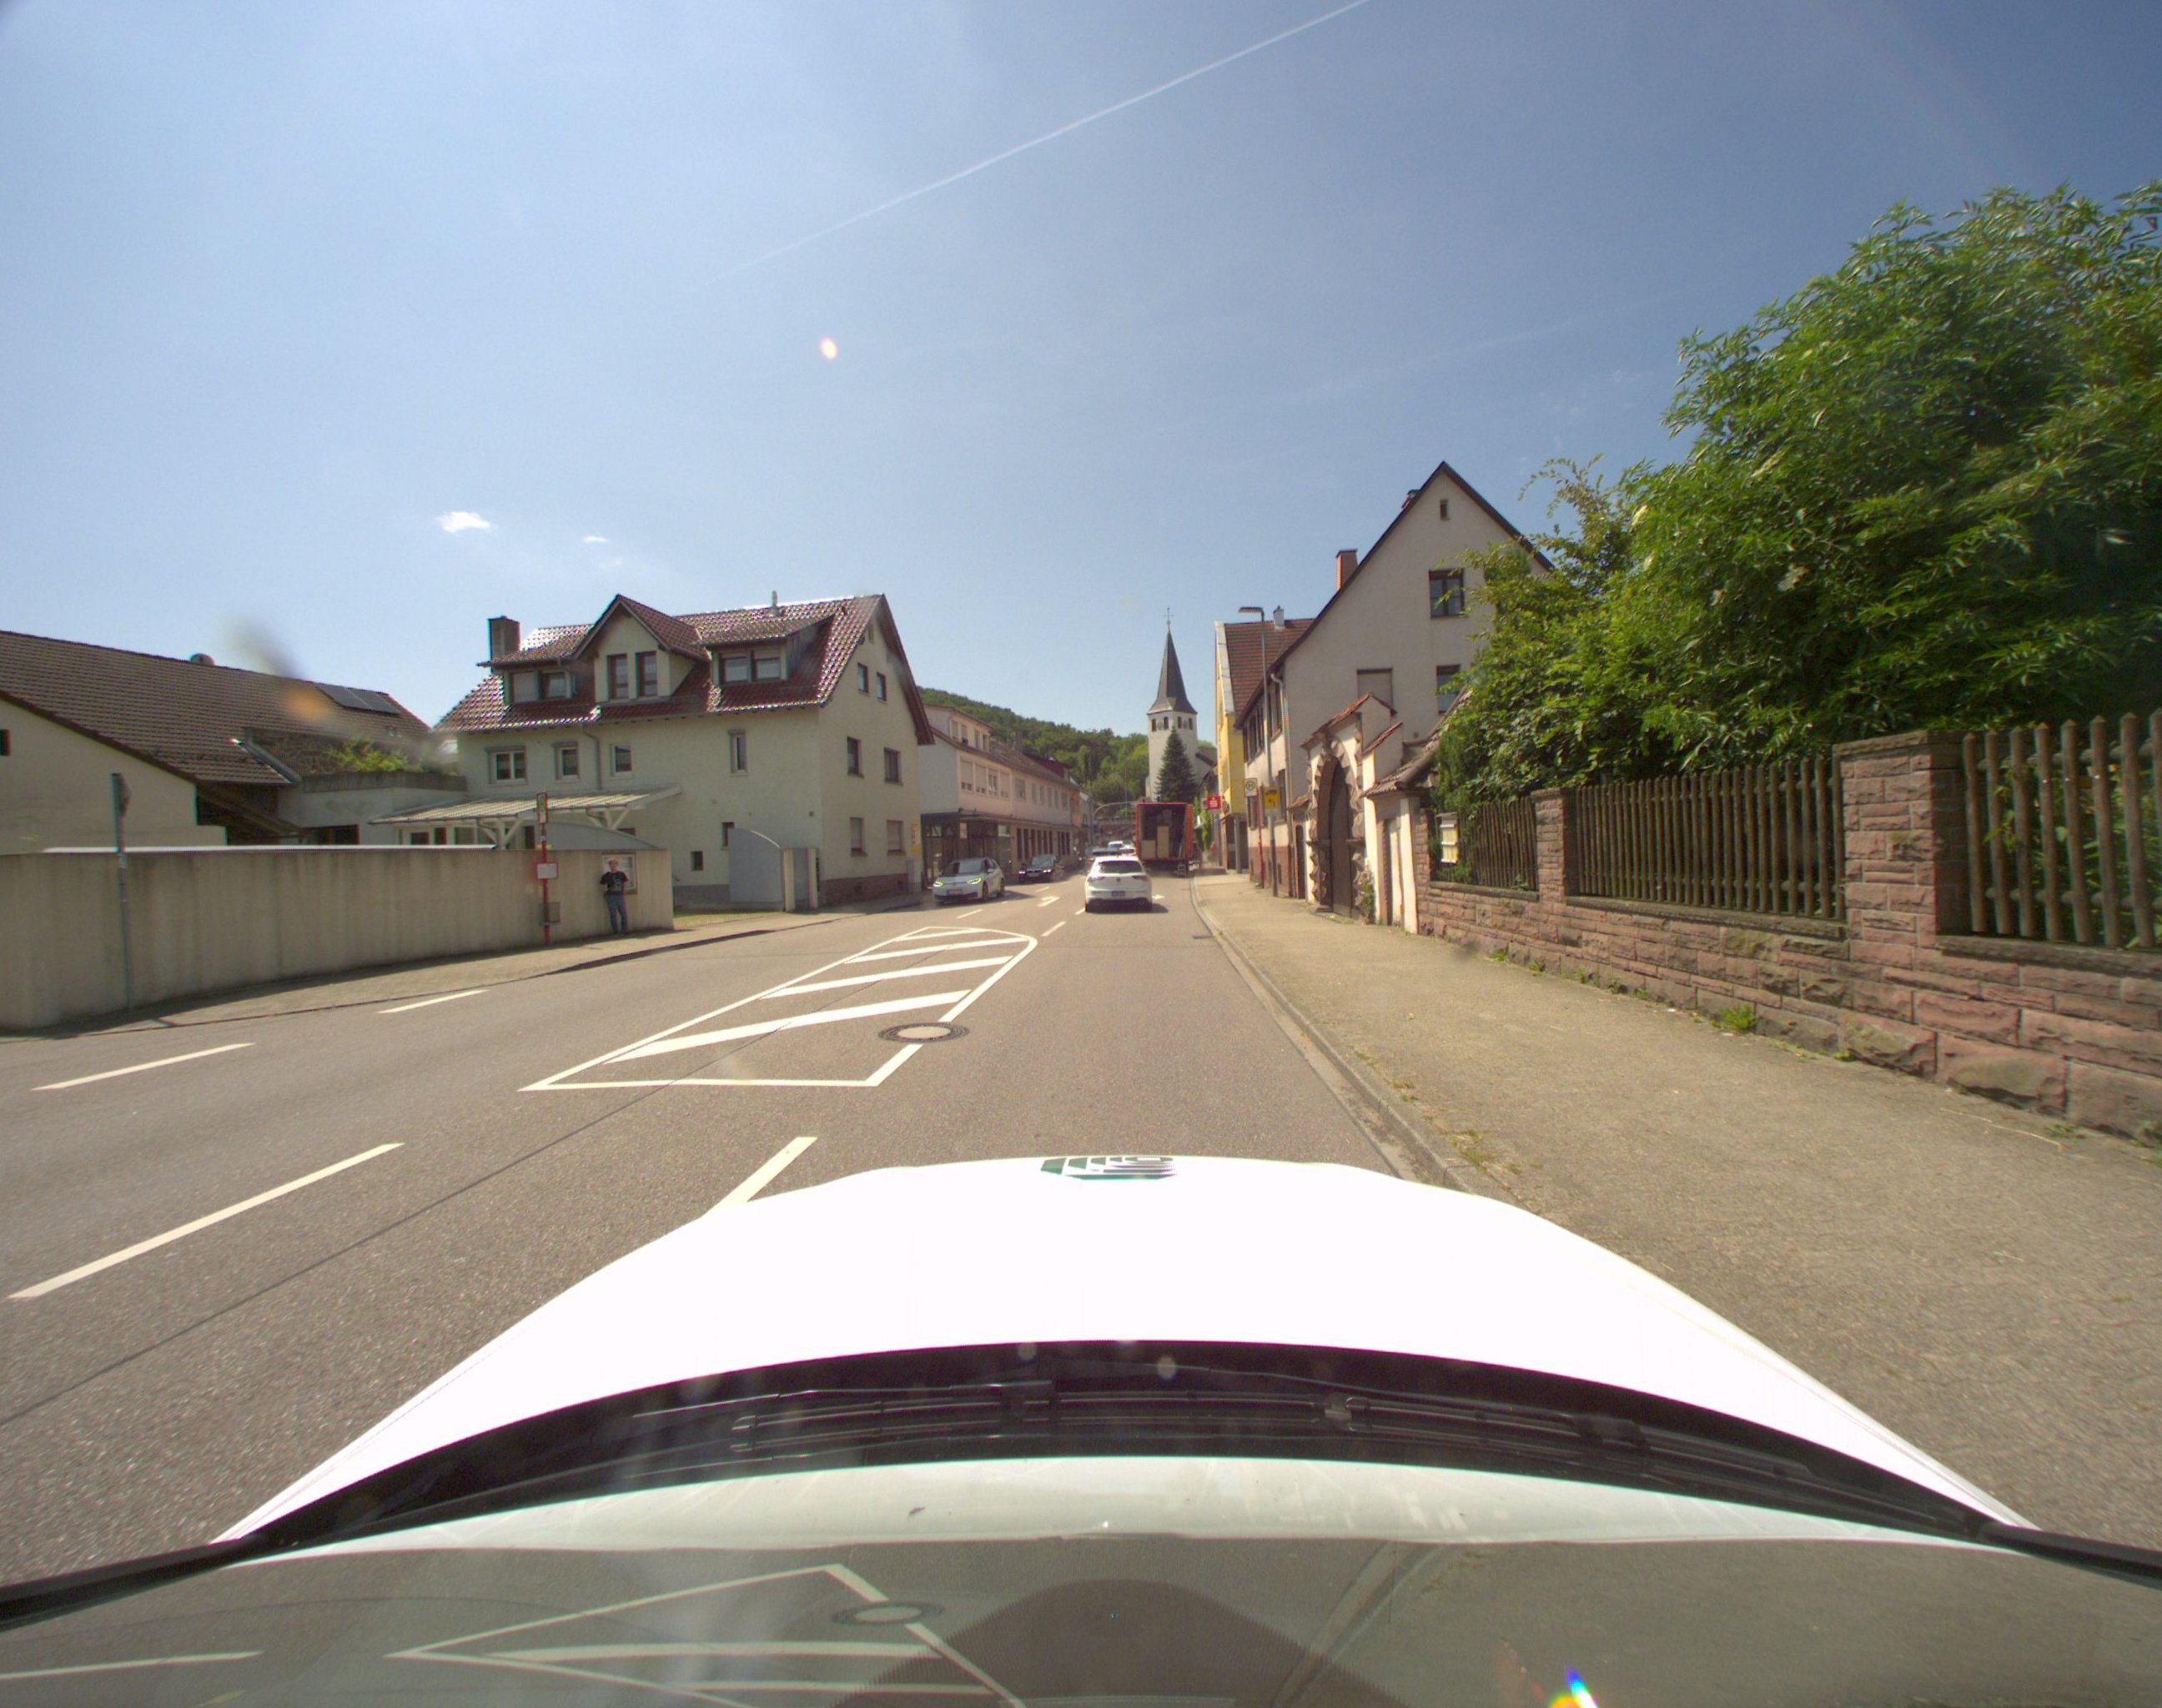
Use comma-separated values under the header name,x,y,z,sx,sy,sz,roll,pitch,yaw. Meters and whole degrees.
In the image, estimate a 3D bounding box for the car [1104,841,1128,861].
name,x,y,z,sx,sy,sz,roll,pitch,yaw
car,3.548,-0.344,81.342,1.791,1.779,4.716,-3,0,9

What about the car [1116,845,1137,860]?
name,x,y,z,sx,sy,sz,roll,pitch,yaw
car,5.369,-0.144,95.430,1.982,1.651,4.010,-3,-1,9

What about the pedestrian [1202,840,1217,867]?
name,x,y,z,sx,sy,sz,roll,pitch,yaw
pedestrian,8.521,-0.006,53.945,0.766,1.742,0.871,-3,-1,1

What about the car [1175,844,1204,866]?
name,x,y,z,sx,sy,sz,roll,pitch,yaw
car,8.220,0.096,62.181,1.808,1.519,4.003,-3,-1,3

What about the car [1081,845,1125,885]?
name,x,y,z,sx,sy,sz,roll,pitch,yaw
car,1.049,0.479,36.708,1.808,1.628,4.003,-3,-1,3

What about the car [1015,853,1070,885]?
name,x,y,z,sx,sy,sz,roll,pitch,yaw
car,-1.950,0.738,42.297,1.782,1.493,4.434,-3,-1,10

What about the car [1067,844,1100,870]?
name,x,y,z,sx,sy,sz,roll,pitch,yaw
car,0.234,0.198,61.366,1.681,1.698,4.124,-3,1,10

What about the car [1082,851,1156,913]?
name,x,y,z,sx,sy,sz,roll,pitch,yaw
car,1.060,0.717,22.372,1.807,1.519,4.003,-1,-1,3

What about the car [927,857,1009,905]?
name,x,y,z,sx,sy,sz,roll,pitch,yaw
car,-3.952,0.915,29.211,1.786,1.508,4.142,-3,-1,7

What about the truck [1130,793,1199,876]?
name,x,y,z,sx,sy,sz,roll,pitch,yaw
truck,4.804,-0.992,47.246,3.351,4.170,9.533,-3,-1,5

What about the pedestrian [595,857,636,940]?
name,x,y,z,sx,sy,sz,roll,pitch,yaw
pedestrian,-10.209,0.969,17.881,0.430,1.764,0.560,-3,0,22

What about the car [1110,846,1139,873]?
name,x,y,z,sx,sy,sz,roll,pitch,yaw
car,2.914,0.379,54.688,1.808,1.628,4.003,-3,-1,3
